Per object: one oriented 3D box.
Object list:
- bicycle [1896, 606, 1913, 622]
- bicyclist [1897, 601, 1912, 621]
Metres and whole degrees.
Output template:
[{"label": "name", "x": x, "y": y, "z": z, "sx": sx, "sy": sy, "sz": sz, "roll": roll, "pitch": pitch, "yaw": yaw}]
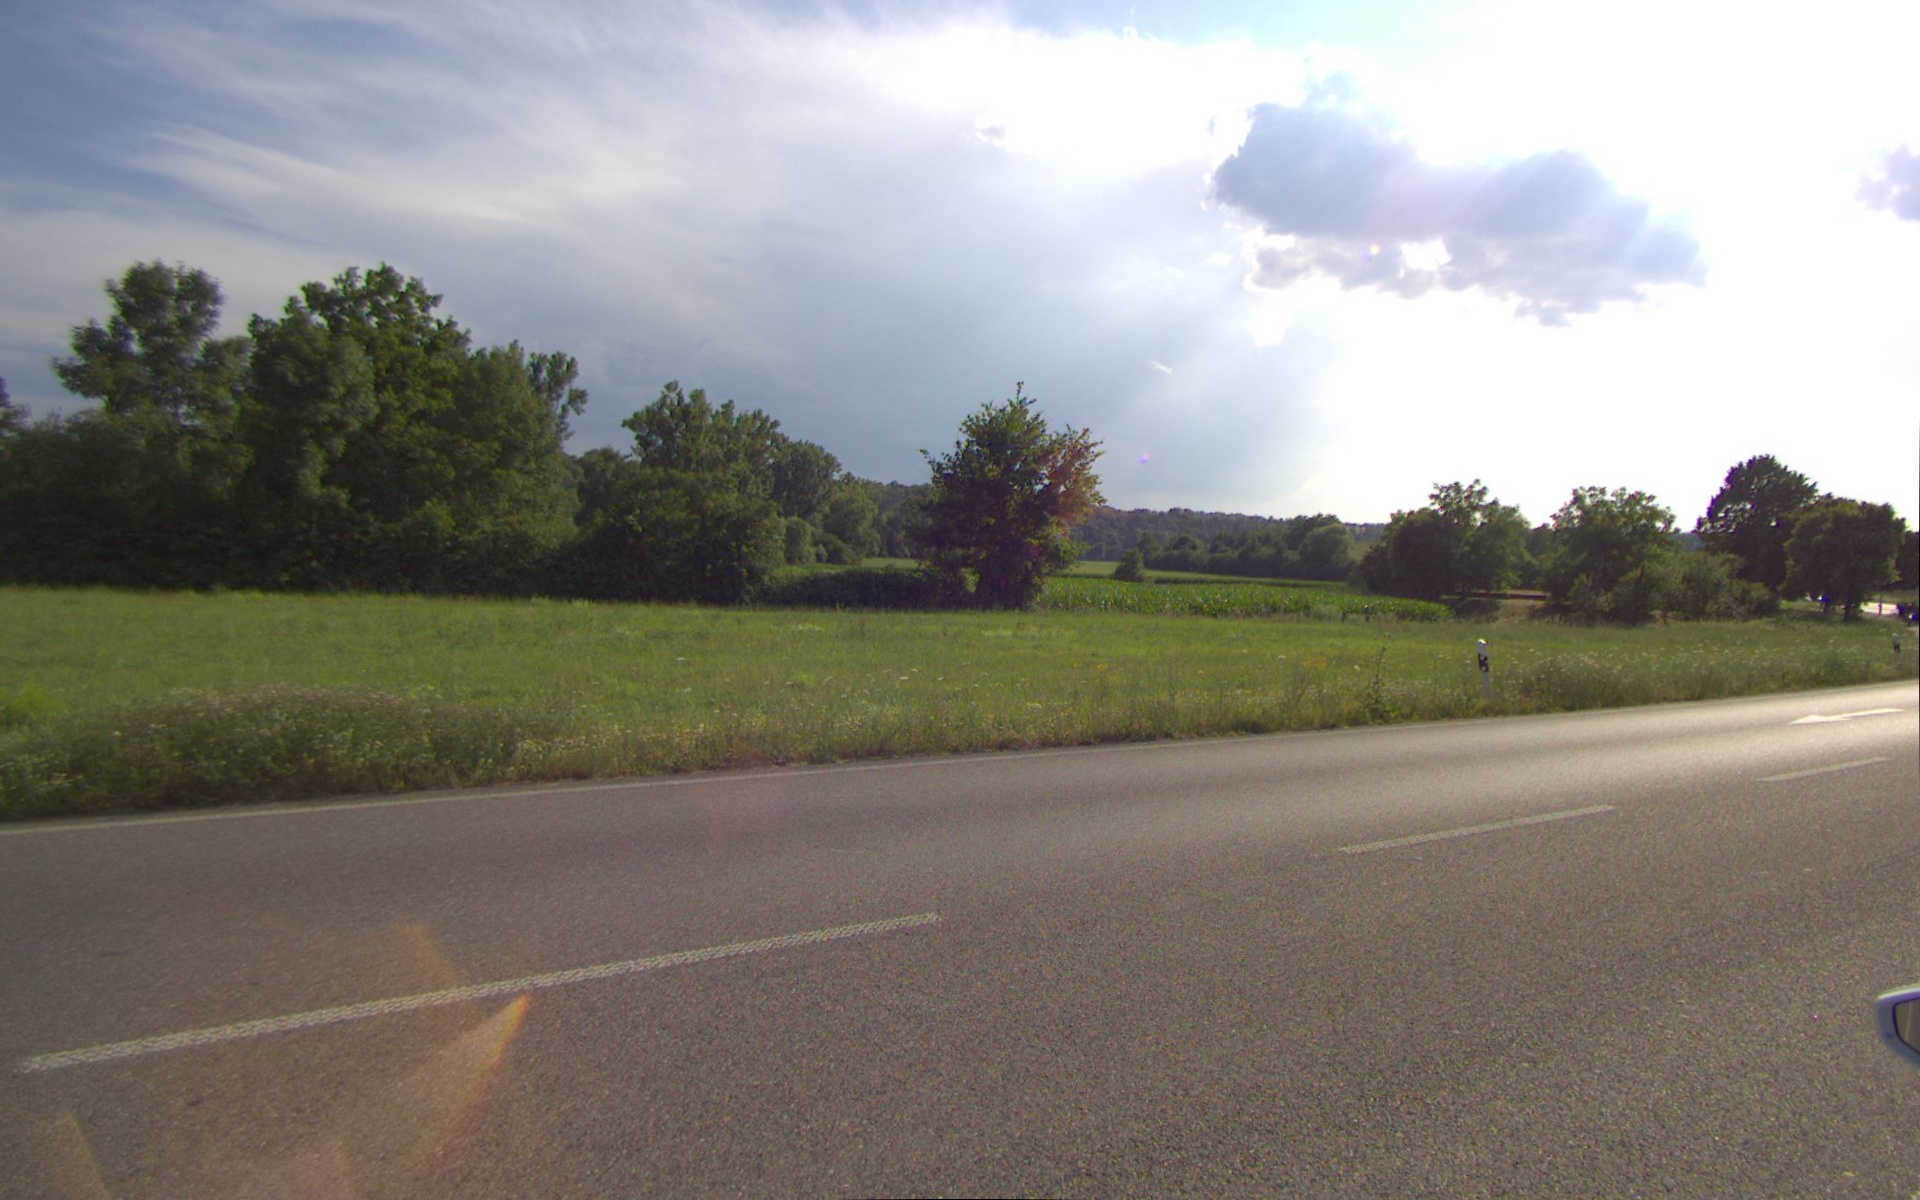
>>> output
[{"label": "bicycle", "x": 71.141, "y": 1.054, "z": 75.644, "sx": 1.656, "sy": 1.089, "sz": 0.630, "roll": 1, "pitch": 2, "yaw": -39}, {"label": "bicyclist", "x": 71.066, "y": 0.836, "z": 75.565, "sx": 0.685, "sy": 1.439, "sz": 0.630, "roll": 1, "pitch": 2, "yaw": -38}]
